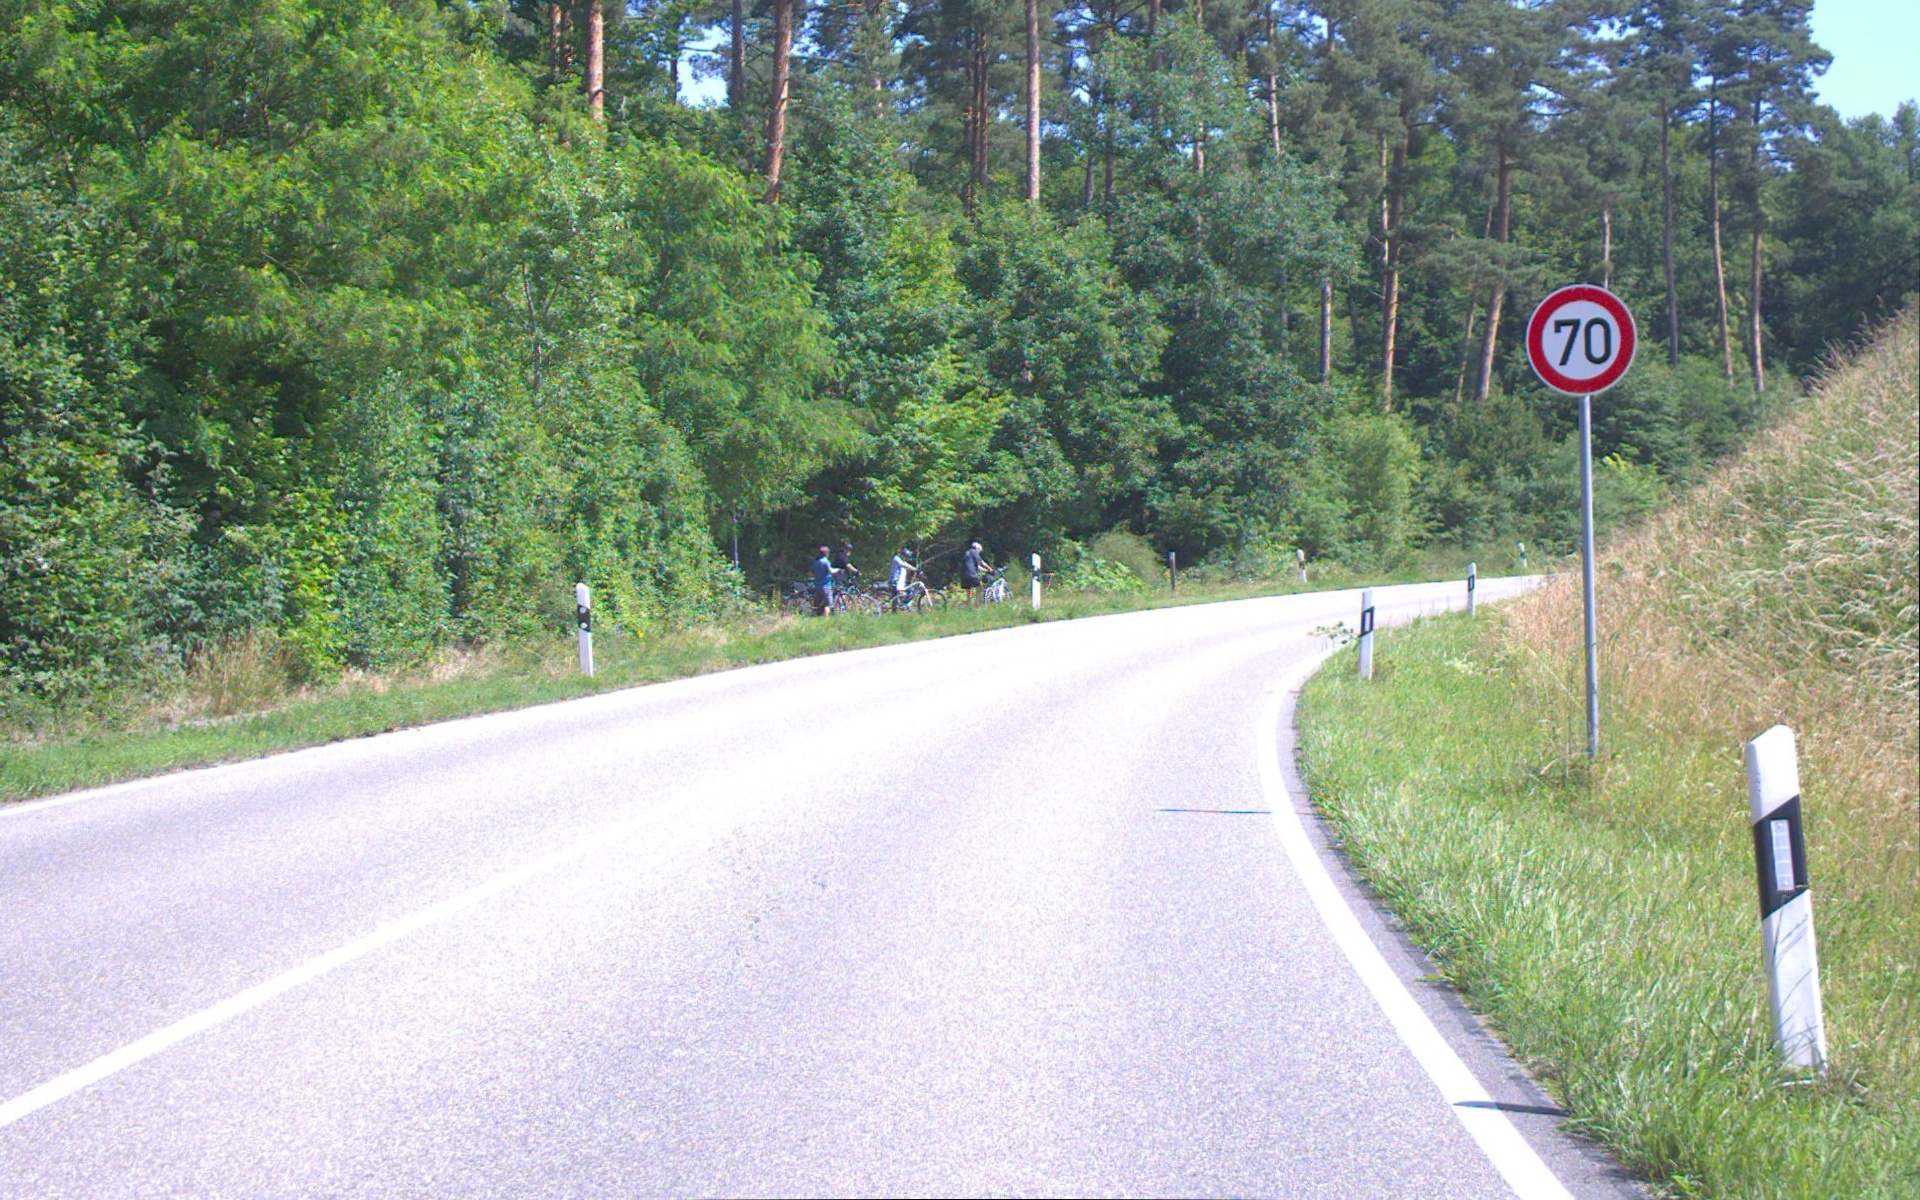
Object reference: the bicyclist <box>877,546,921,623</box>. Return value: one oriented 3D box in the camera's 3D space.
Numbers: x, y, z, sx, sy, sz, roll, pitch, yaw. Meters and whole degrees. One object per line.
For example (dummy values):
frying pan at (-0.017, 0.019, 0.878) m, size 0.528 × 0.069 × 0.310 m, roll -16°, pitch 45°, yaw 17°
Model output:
bicyclist at (-1.373, -0.349, 77.225) m, size 0.786 × 1.713 × 0.606 m, roll 0°, pitch 0°, yaw -23°

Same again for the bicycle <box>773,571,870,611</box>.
bicycle at (-2.917, -0.183, 72.480) m, size 1.978 × 0.827 × 0.606 m, roll 0°, pitch 0°, yaw -30°

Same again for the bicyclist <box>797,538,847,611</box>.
bicyclist at (-2.914, -0.537, 72.486) m, size 0.868 × 1.540 × 0.606 m, roll 0°, pitch 0°, yaw -30°

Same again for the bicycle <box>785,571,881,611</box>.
bicycle at (-2.717, -0.193, 73.525) m, size 1.978 × 0.827 × 0.606 m, roll 0°, pitch 0°, yaw -30°

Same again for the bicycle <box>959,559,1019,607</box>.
bicycle at (0.687, -0.406, 81.744) m, size 1.443 × 1.082 × 0.582 m, roll -3°, pitch 4°, yaw -45°

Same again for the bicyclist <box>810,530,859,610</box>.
bicyclist at (-2.686, -0.634, 73.539) m, size 0.848 × 1.695 × 0.606 m, roll 0°, pitch 0°, yaw -30°

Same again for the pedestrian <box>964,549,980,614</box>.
pedestrian at (0.282, -0.452, 81.698) m, size 0.284 × 1.533 × 0.390 m, roll -1°, pitch 1°, yaw 11°

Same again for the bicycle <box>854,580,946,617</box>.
bicycle at (-1.356, -0.033, 77.243) m, size 1.978 × 0.827 × 0.606 m, roll 0°, pitch 0°, yaw -23°
